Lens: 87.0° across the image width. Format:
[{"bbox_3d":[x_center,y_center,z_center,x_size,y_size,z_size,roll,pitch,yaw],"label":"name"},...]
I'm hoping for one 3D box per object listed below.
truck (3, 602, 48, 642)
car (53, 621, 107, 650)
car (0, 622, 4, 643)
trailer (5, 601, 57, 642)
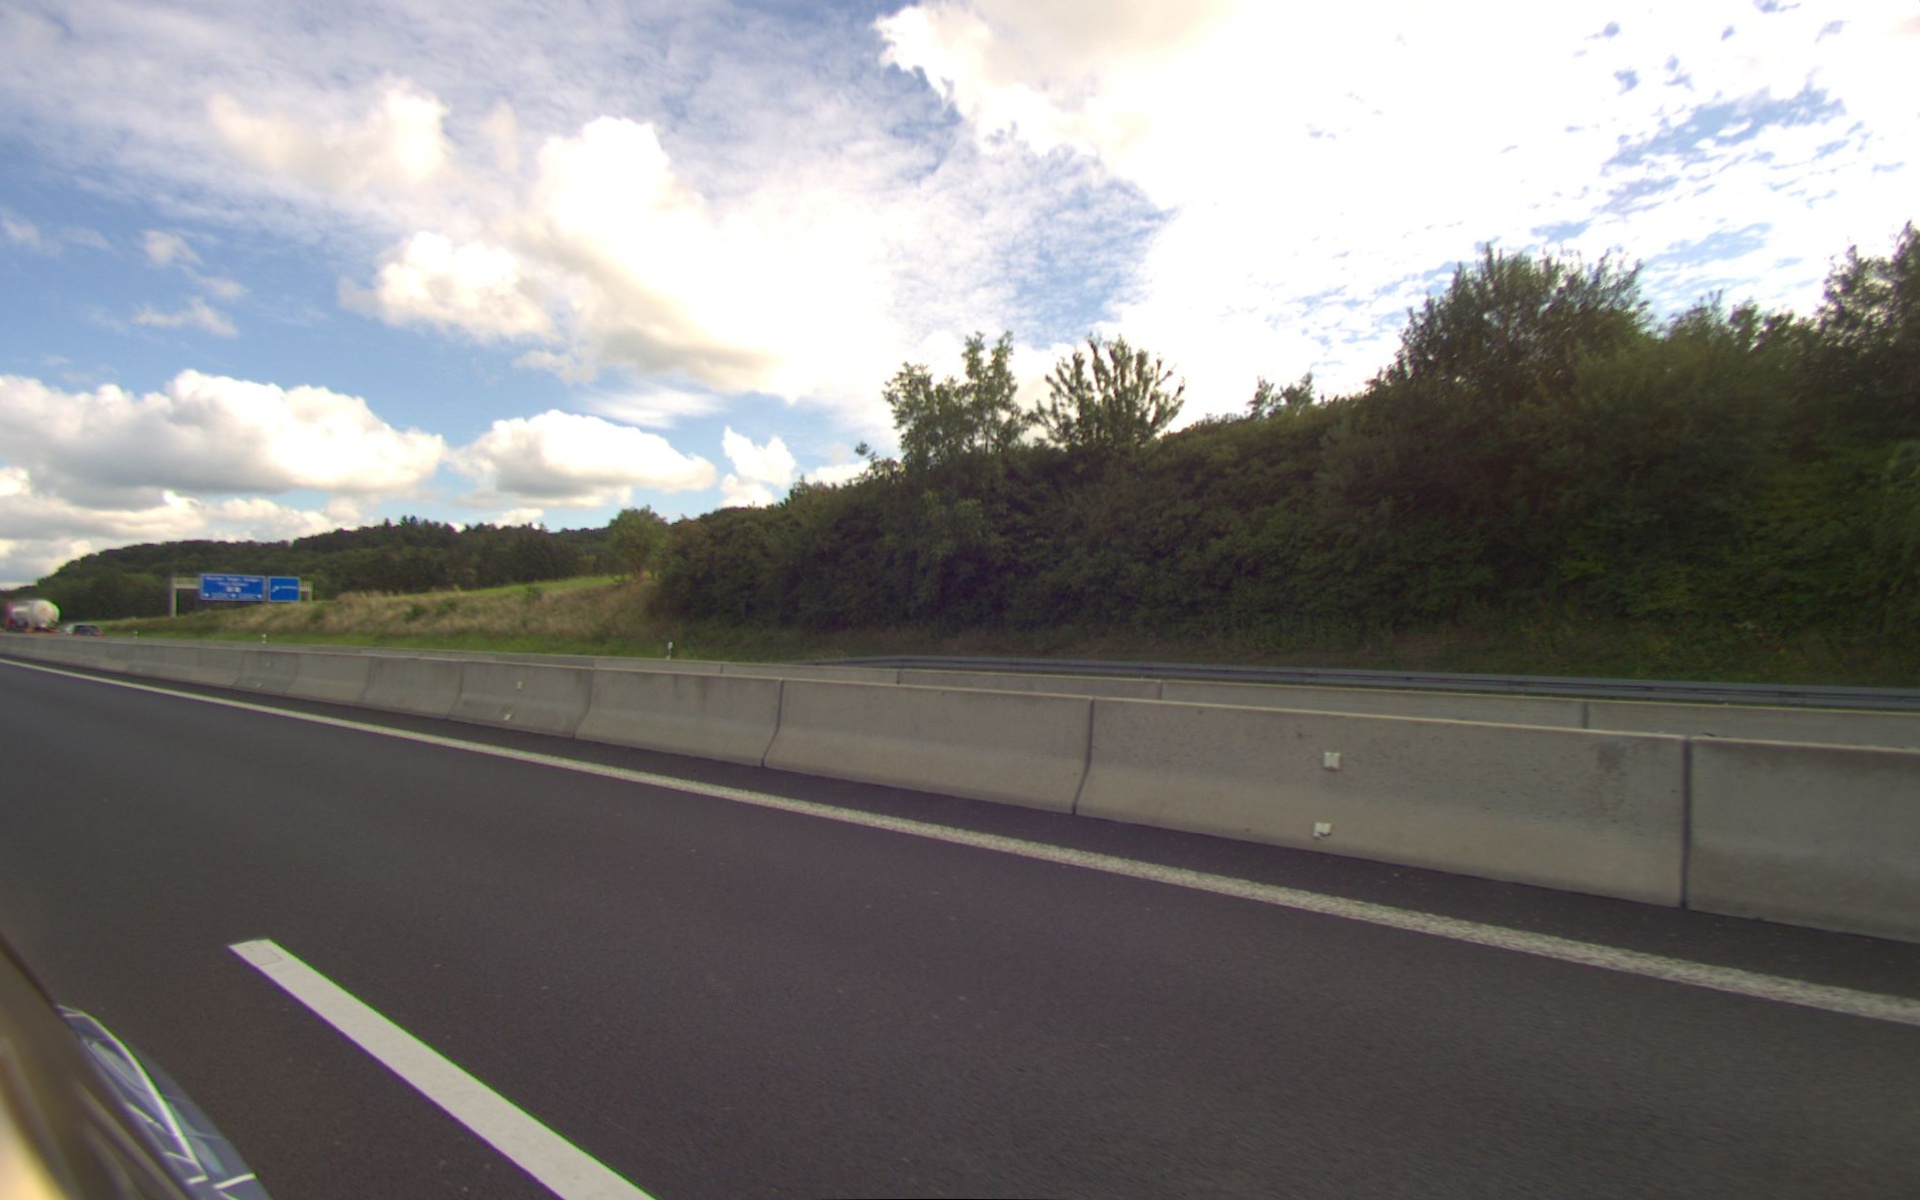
[{"bbox_3d":[-97.203,2.290,105.216,6.899,3.954,2.708,-1,-3,42],"label":"truck"},{"bbox_3d":[-55.043,2.200,63.307,3.998,1.730,1.973,-1,-3,41],"label":"car"},{"bbox_3d":[-89.417,2.981,93.102,4.395,1.846,1.788,-1,-3,42],"label":"car"},{"bbox_3d":[-93.923,2.234,102.223,11.157,3.916,2.684,-1,-3,42],"label":"trailer"}]
